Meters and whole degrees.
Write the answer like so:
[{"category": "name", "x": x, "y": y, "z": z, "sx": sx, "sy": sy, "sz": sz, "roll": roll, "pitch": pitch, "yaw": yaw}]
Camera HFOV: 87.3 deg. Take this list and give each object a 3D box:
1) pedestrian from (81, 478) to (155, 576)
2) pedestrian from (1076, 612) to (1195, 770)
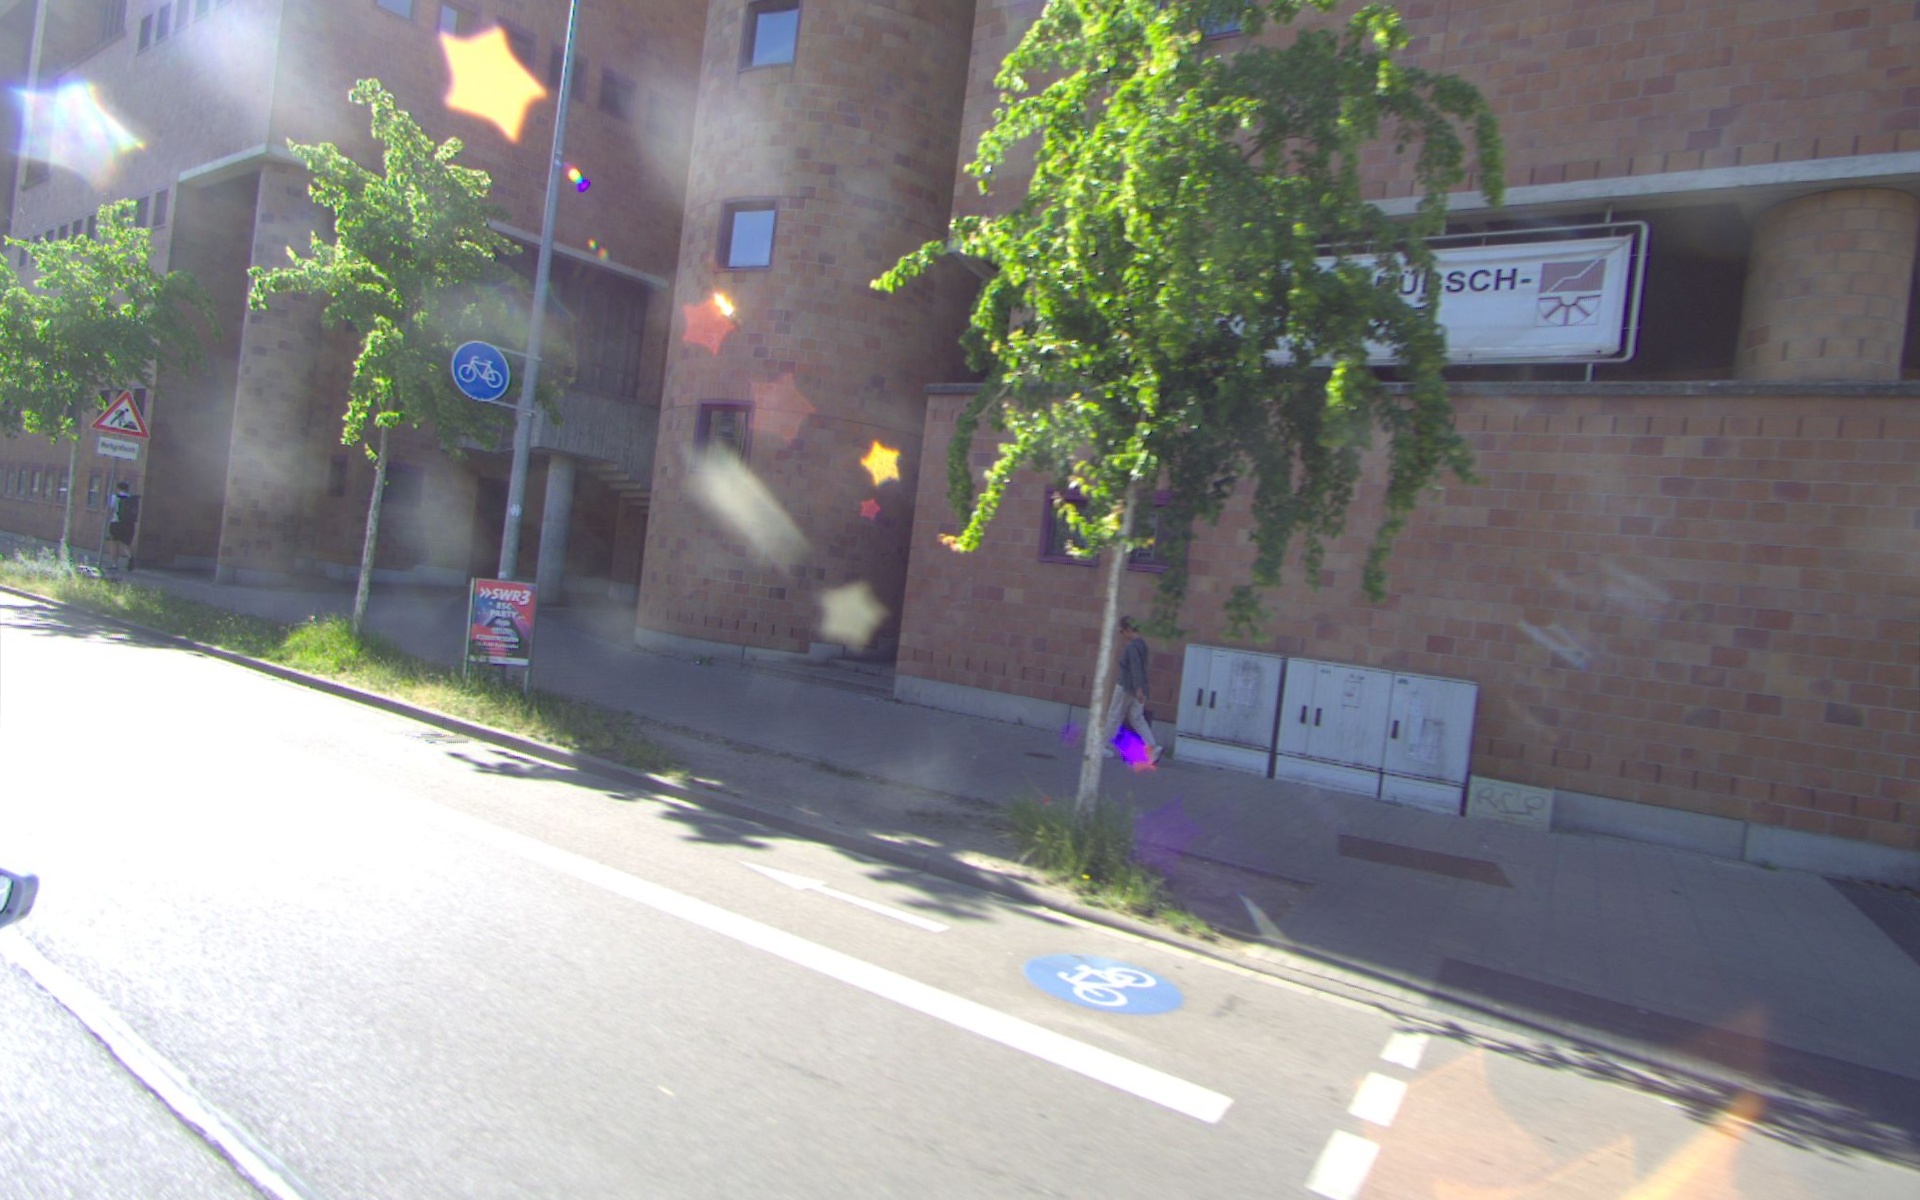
[{"category": "pedestrian", "x": -17.624, "y": -1.526, "z": 21.057, "sx": 1.088, "sy": 1.906, "sz": 0.788, "roll": 7, "pitch": 1, "yaw": 33}, {"category": "pedestrian", "x": 2.025, "y": 1.025, "z": 11.594, "sx": 0.960, "sy": 1.639, "sz": 0.789, "roll": 7, "pitch": 1, "yaw": 31}]
